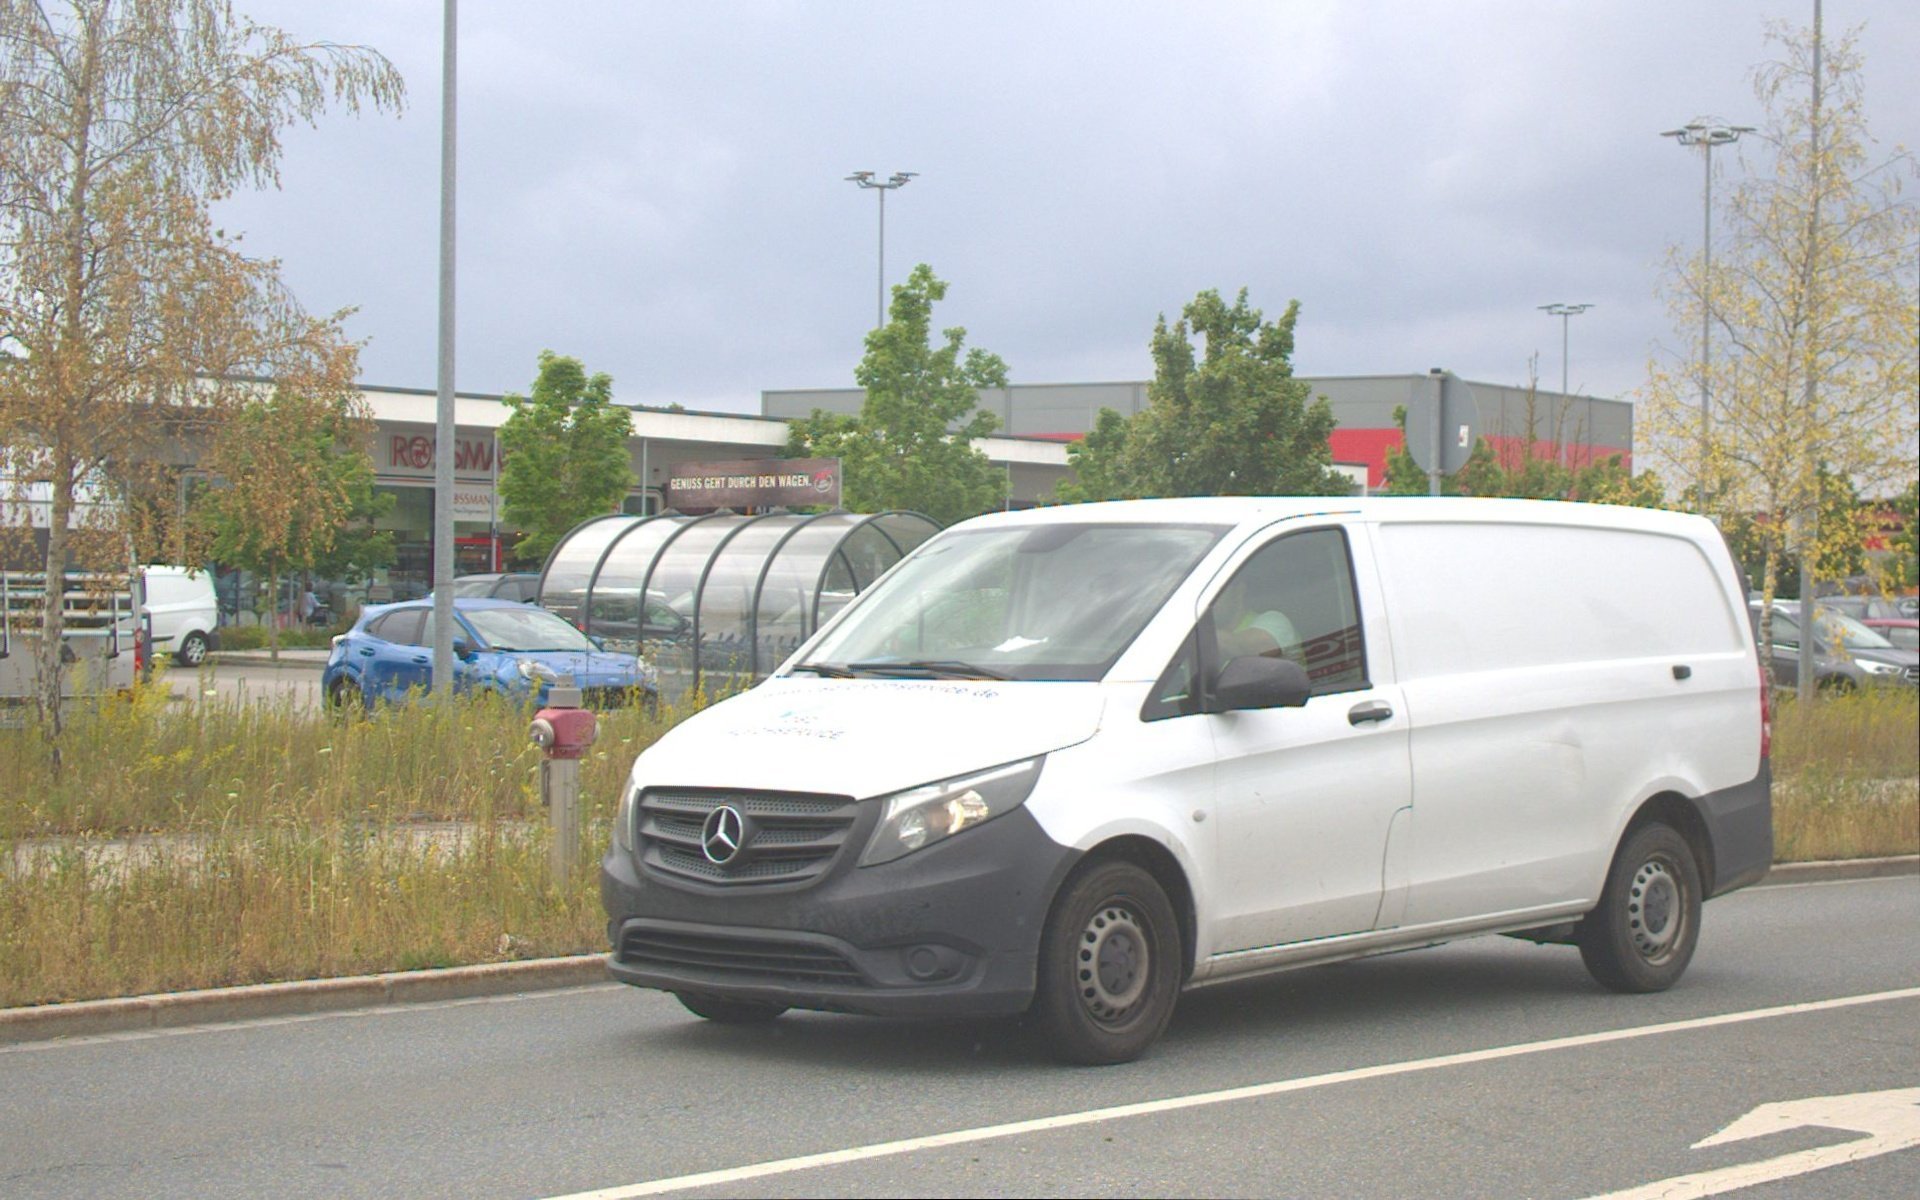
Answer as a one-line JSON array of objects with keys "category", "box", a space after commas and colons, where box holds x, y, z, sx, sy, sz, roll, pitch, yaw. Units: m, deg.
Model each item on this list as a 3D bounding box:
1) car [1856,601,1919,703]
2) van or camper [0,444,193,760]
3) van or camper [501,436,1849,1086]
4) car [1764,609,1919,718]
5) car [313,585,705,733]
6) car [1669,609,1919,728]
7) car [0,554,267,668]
[{"category": "car", "box": [14.631, 0.763, 47.673, 1.909, 1.385, 3.812, 1, 0, -43]}, {"category": "van or camper", "box": [-8.493, 0.019, 28.878, 2.284, 2.484, 3.998, 2, -1, -42]}, {"category": "van or camper", "box": [1.018, 0.498, 12.628, 1.999, 1.905, 5.190, 1, 0, 44]}, {"category": "car", "box": [12.990, 0.861, 46.191, 1.909, 1.385, 3.812, 1, 0, -43]}, {"category": "car", "box": [-4.554, 0.567, 34.337, 1.805, 1.380, 4.148, 2, -1, -42]}, {"category": "car", "box": [11.345, 0.864, 44.525, 1.909, 1.385, 3.812, 1, 0, -43]}, {"category": "car", "box": [-14.028, 0.213, 58.094, 1.997, 1.813, 4.420, 1, -1, 32]}]
